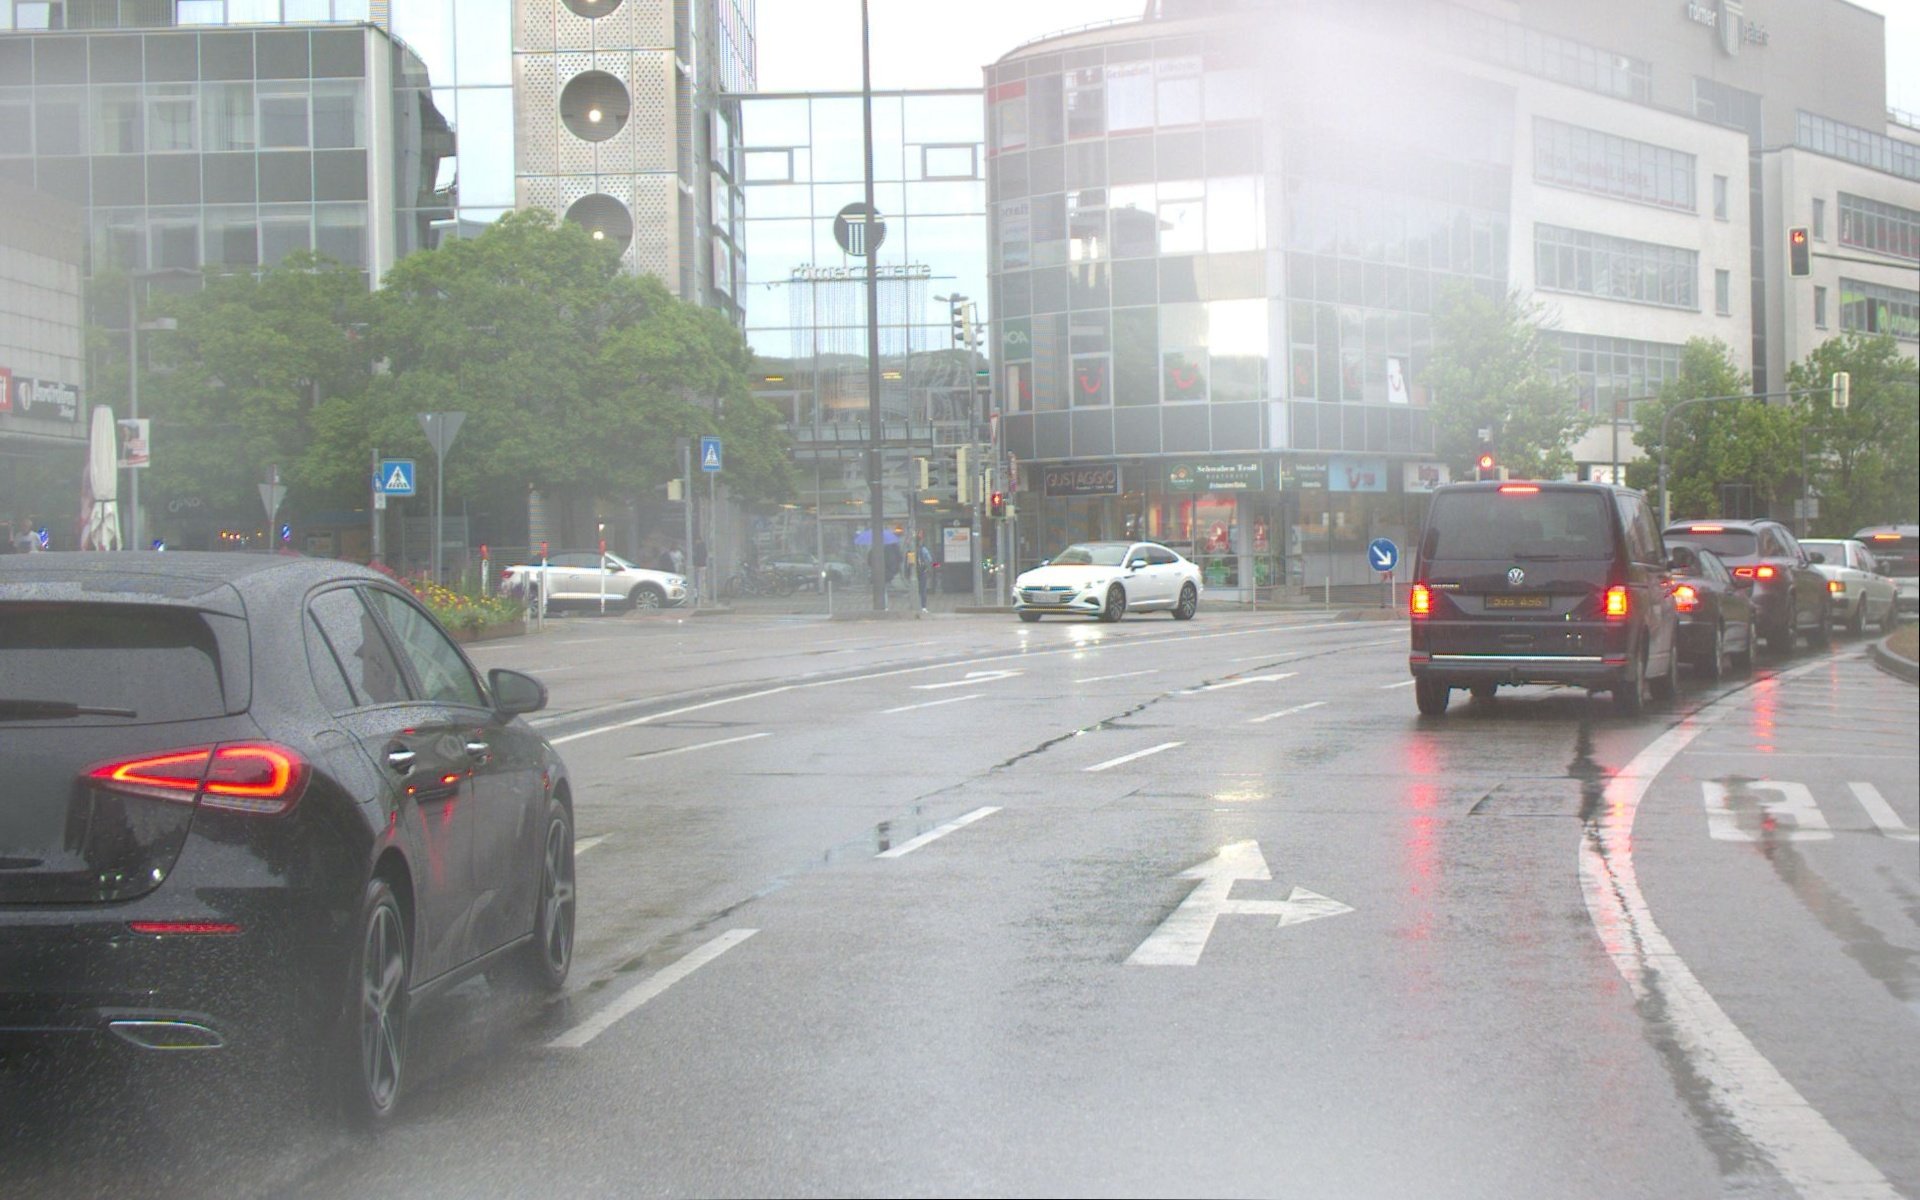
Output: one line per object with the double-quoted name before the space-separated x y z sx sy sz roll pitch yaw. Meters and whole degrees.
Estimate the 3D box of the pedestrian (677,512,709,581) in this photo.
"pedestrian" -7.743 -1.553 99.774 0.763 2.007 0.714 0 1 10

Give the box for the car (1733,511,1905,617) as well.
"car" 12.339 -0.527 49.207 1.636 1.443 4.263 0 1 25

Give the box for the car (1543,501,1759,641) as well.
"car" 7.390 -0.341 36.488 1.633 1.381 4.511 0 1 19

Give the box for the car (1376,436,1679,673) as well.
"car" 4.996 -0.395 29.772 1.997 1.887 4.583 0 1 17

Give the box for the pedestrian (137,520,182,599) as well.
"pedestrian" -13.662 -0.688 58.673 0.497 1.343 0.536 0 1 38

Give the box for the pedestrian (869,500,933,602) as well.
"pedestrian" -1.185 -0.981 68.782 1.162 2.007 1.329 -1 1 -5

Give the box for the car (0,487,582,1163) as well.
"car" -2.213 0.448 9.698 1.815 1.524 3.813 1 2 1

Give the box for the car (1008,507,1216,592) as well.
"car" 2.772 -0.916 61.490 1.845 1.455 4.801 0 1 28

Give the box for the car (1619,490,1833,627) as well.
"car" 9.608 -0.543 42.894 1.903 1.615 4.330 0 1 22

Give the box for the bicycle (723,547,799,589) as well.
"bicycle" -6.125 -0.986 105.954 2.273 1.242 0.676 -1 0 0

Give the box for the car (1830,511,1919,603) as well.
"car" 15.241 -0.715 55.119 1.914 1.395 3.453 -1 1 24

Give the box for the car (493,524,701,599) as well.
"car" -7.877 -0.844 74.800 4.193 1.590 1.870 0 1 7
